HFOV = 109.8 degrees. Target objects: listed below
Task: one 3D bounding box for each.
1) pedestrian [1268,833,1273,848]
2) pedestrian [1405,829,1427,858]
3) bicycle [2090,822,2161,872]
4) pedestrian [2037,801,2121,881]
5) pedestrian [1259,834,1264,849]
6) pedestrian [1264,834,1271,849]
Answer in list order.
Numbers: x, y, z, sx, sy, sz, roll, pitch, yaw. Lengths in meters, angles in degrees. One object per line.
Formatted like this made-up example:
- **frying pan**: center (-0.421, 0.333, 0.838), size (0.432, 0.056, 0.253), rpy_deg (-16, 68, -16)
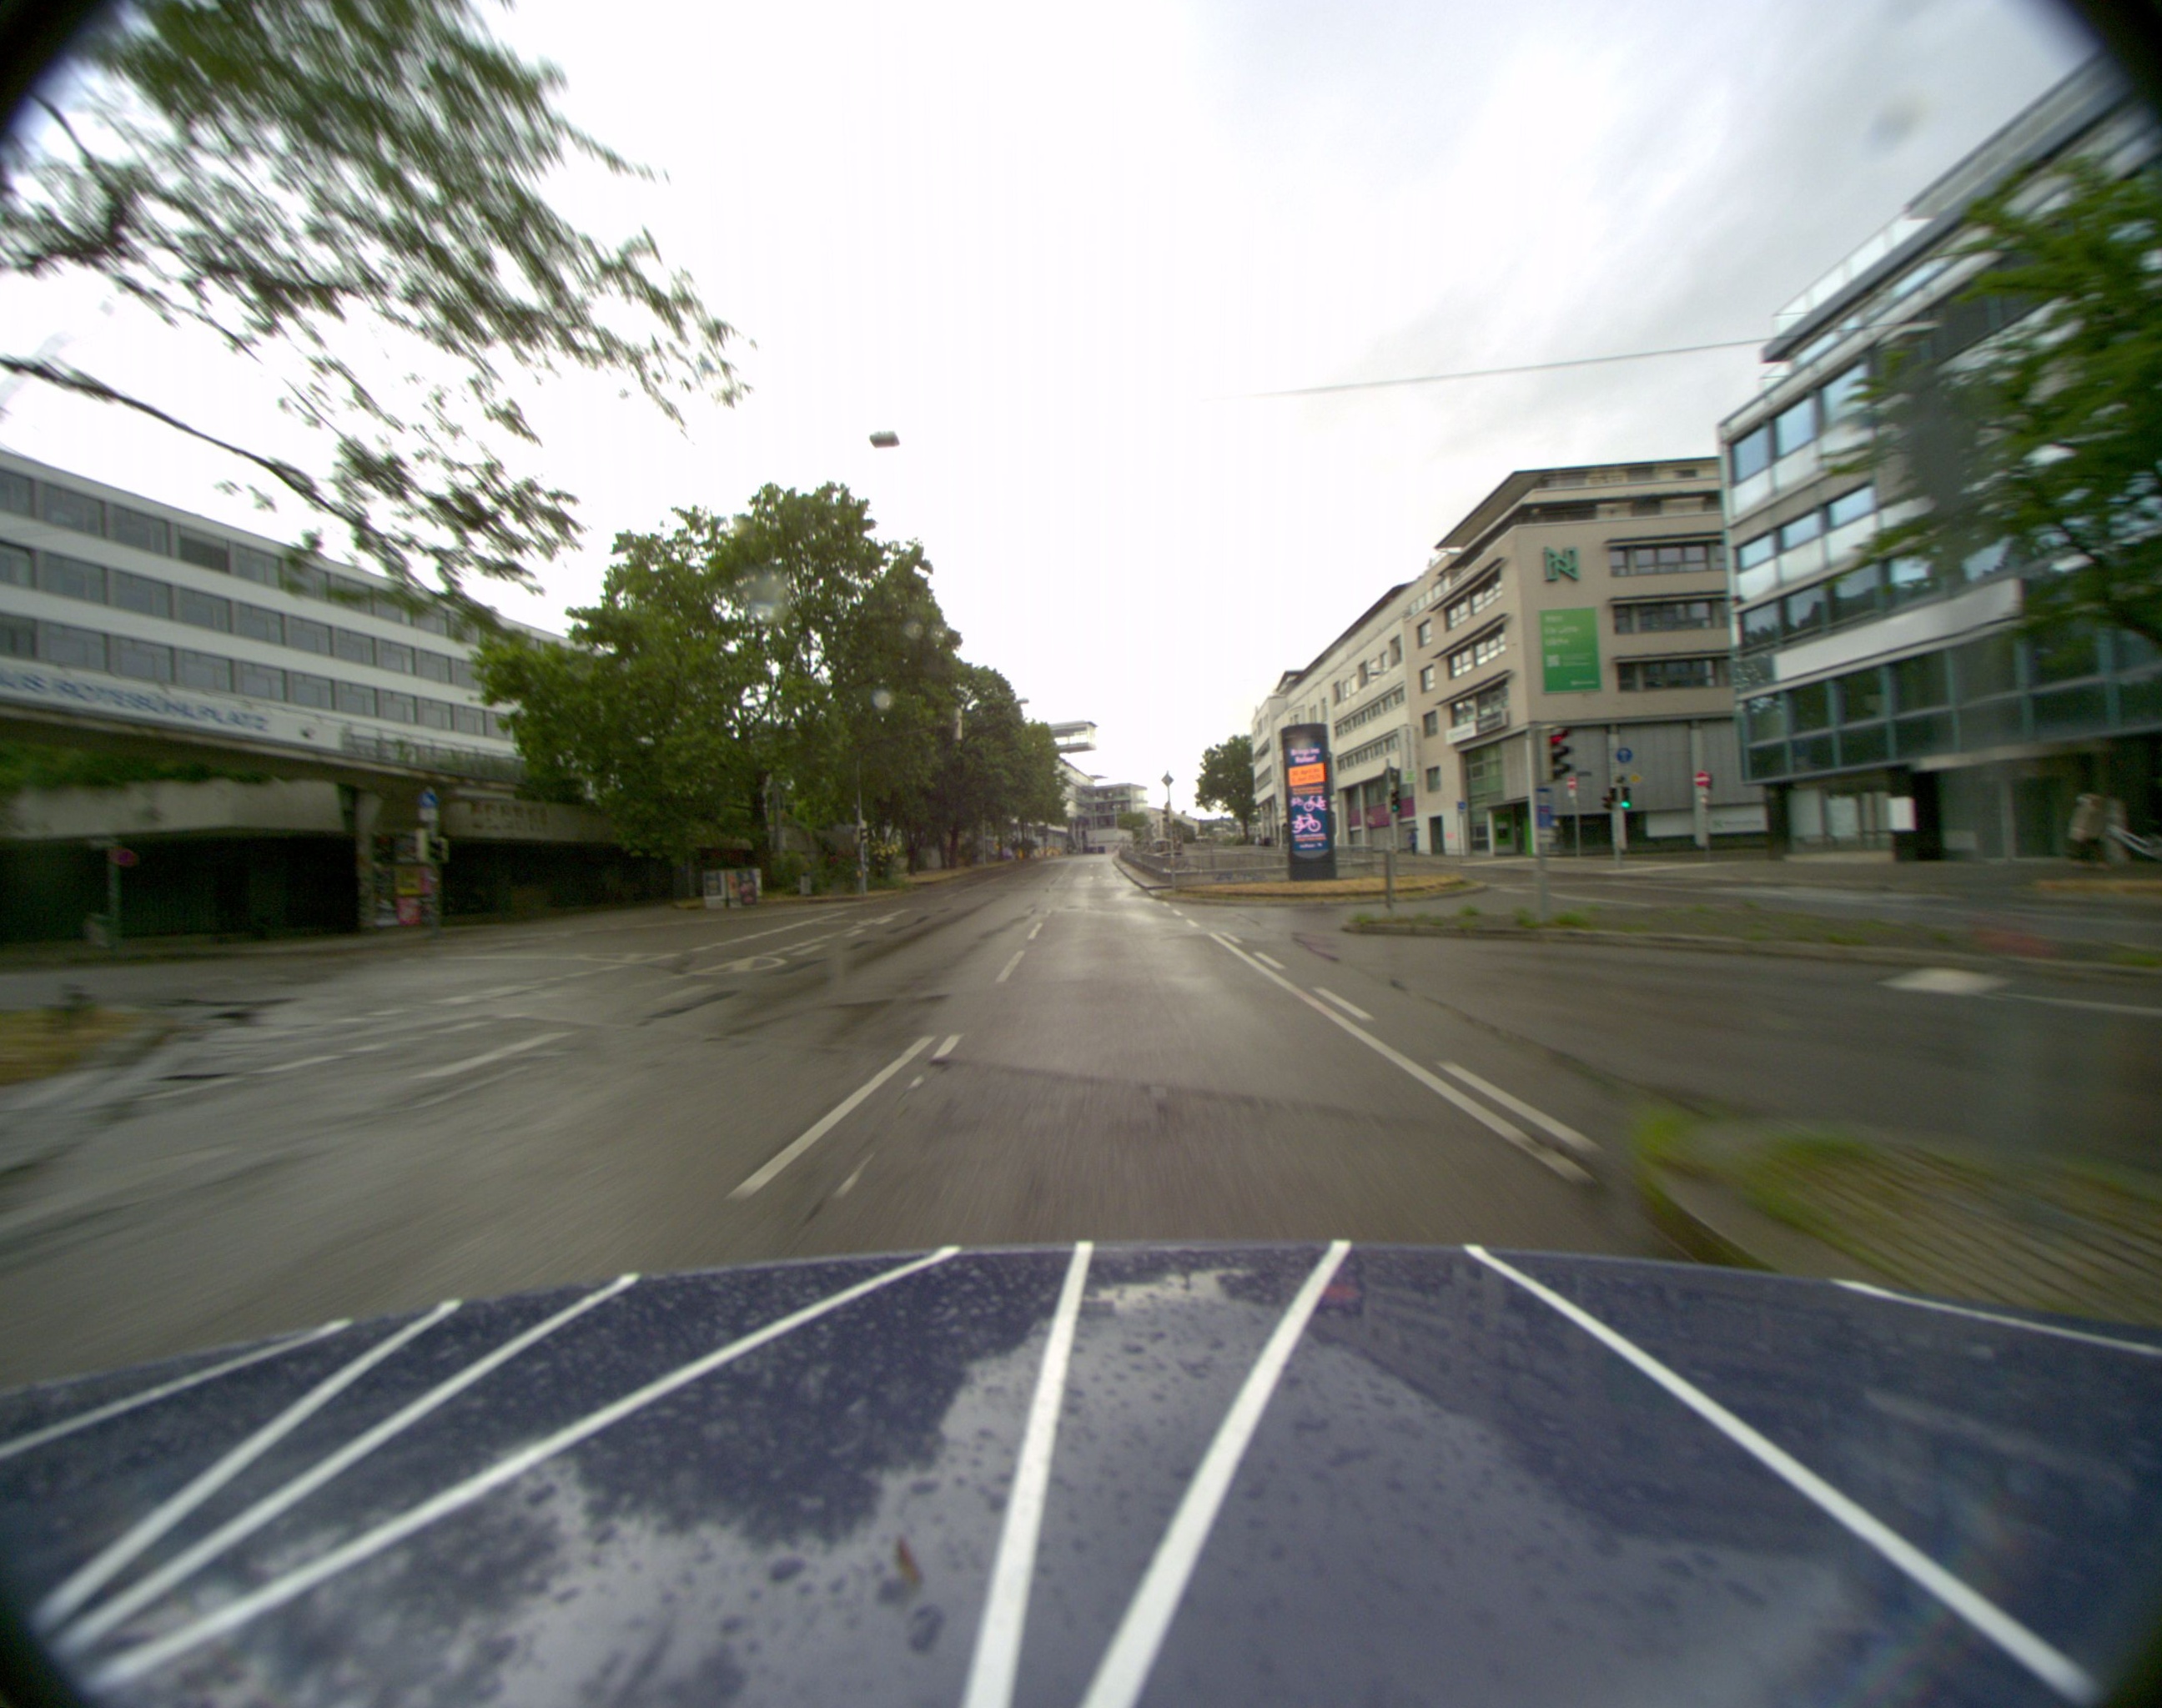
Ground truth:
- **pedestrian**: center (23.253, -1.606, 93.130), size (0.470, 1.792, 0.547), rpy_deg (-3, 1, 3)
- **pedestrian**: center (21.727, -0.703, 49.275), size (0.859, 1.827, 1.059), rpy_deg (-3, 1, 1)
- **bicycle**: center (23.955, -0.158, 17.107), size (0.447, 1.079, 1.565), rpy_deg (-2, 0, 5)
- **pedestrian**: center (22.470, -0.293, 17.128), size (0.695, 1.731, 0.876), rpy_deg (-3, 1, -1)
- **pedestrian**: center (22.409, -1.521, 94.217), size (0.469, 1.792, 0.548), rpy_deg (-3, 1, 8)
- **pedestrian**: center (23.166, -1.543, 94.393), size (0.547, 1.792, 0.470), rpy_deg (-4, 1, -7)
